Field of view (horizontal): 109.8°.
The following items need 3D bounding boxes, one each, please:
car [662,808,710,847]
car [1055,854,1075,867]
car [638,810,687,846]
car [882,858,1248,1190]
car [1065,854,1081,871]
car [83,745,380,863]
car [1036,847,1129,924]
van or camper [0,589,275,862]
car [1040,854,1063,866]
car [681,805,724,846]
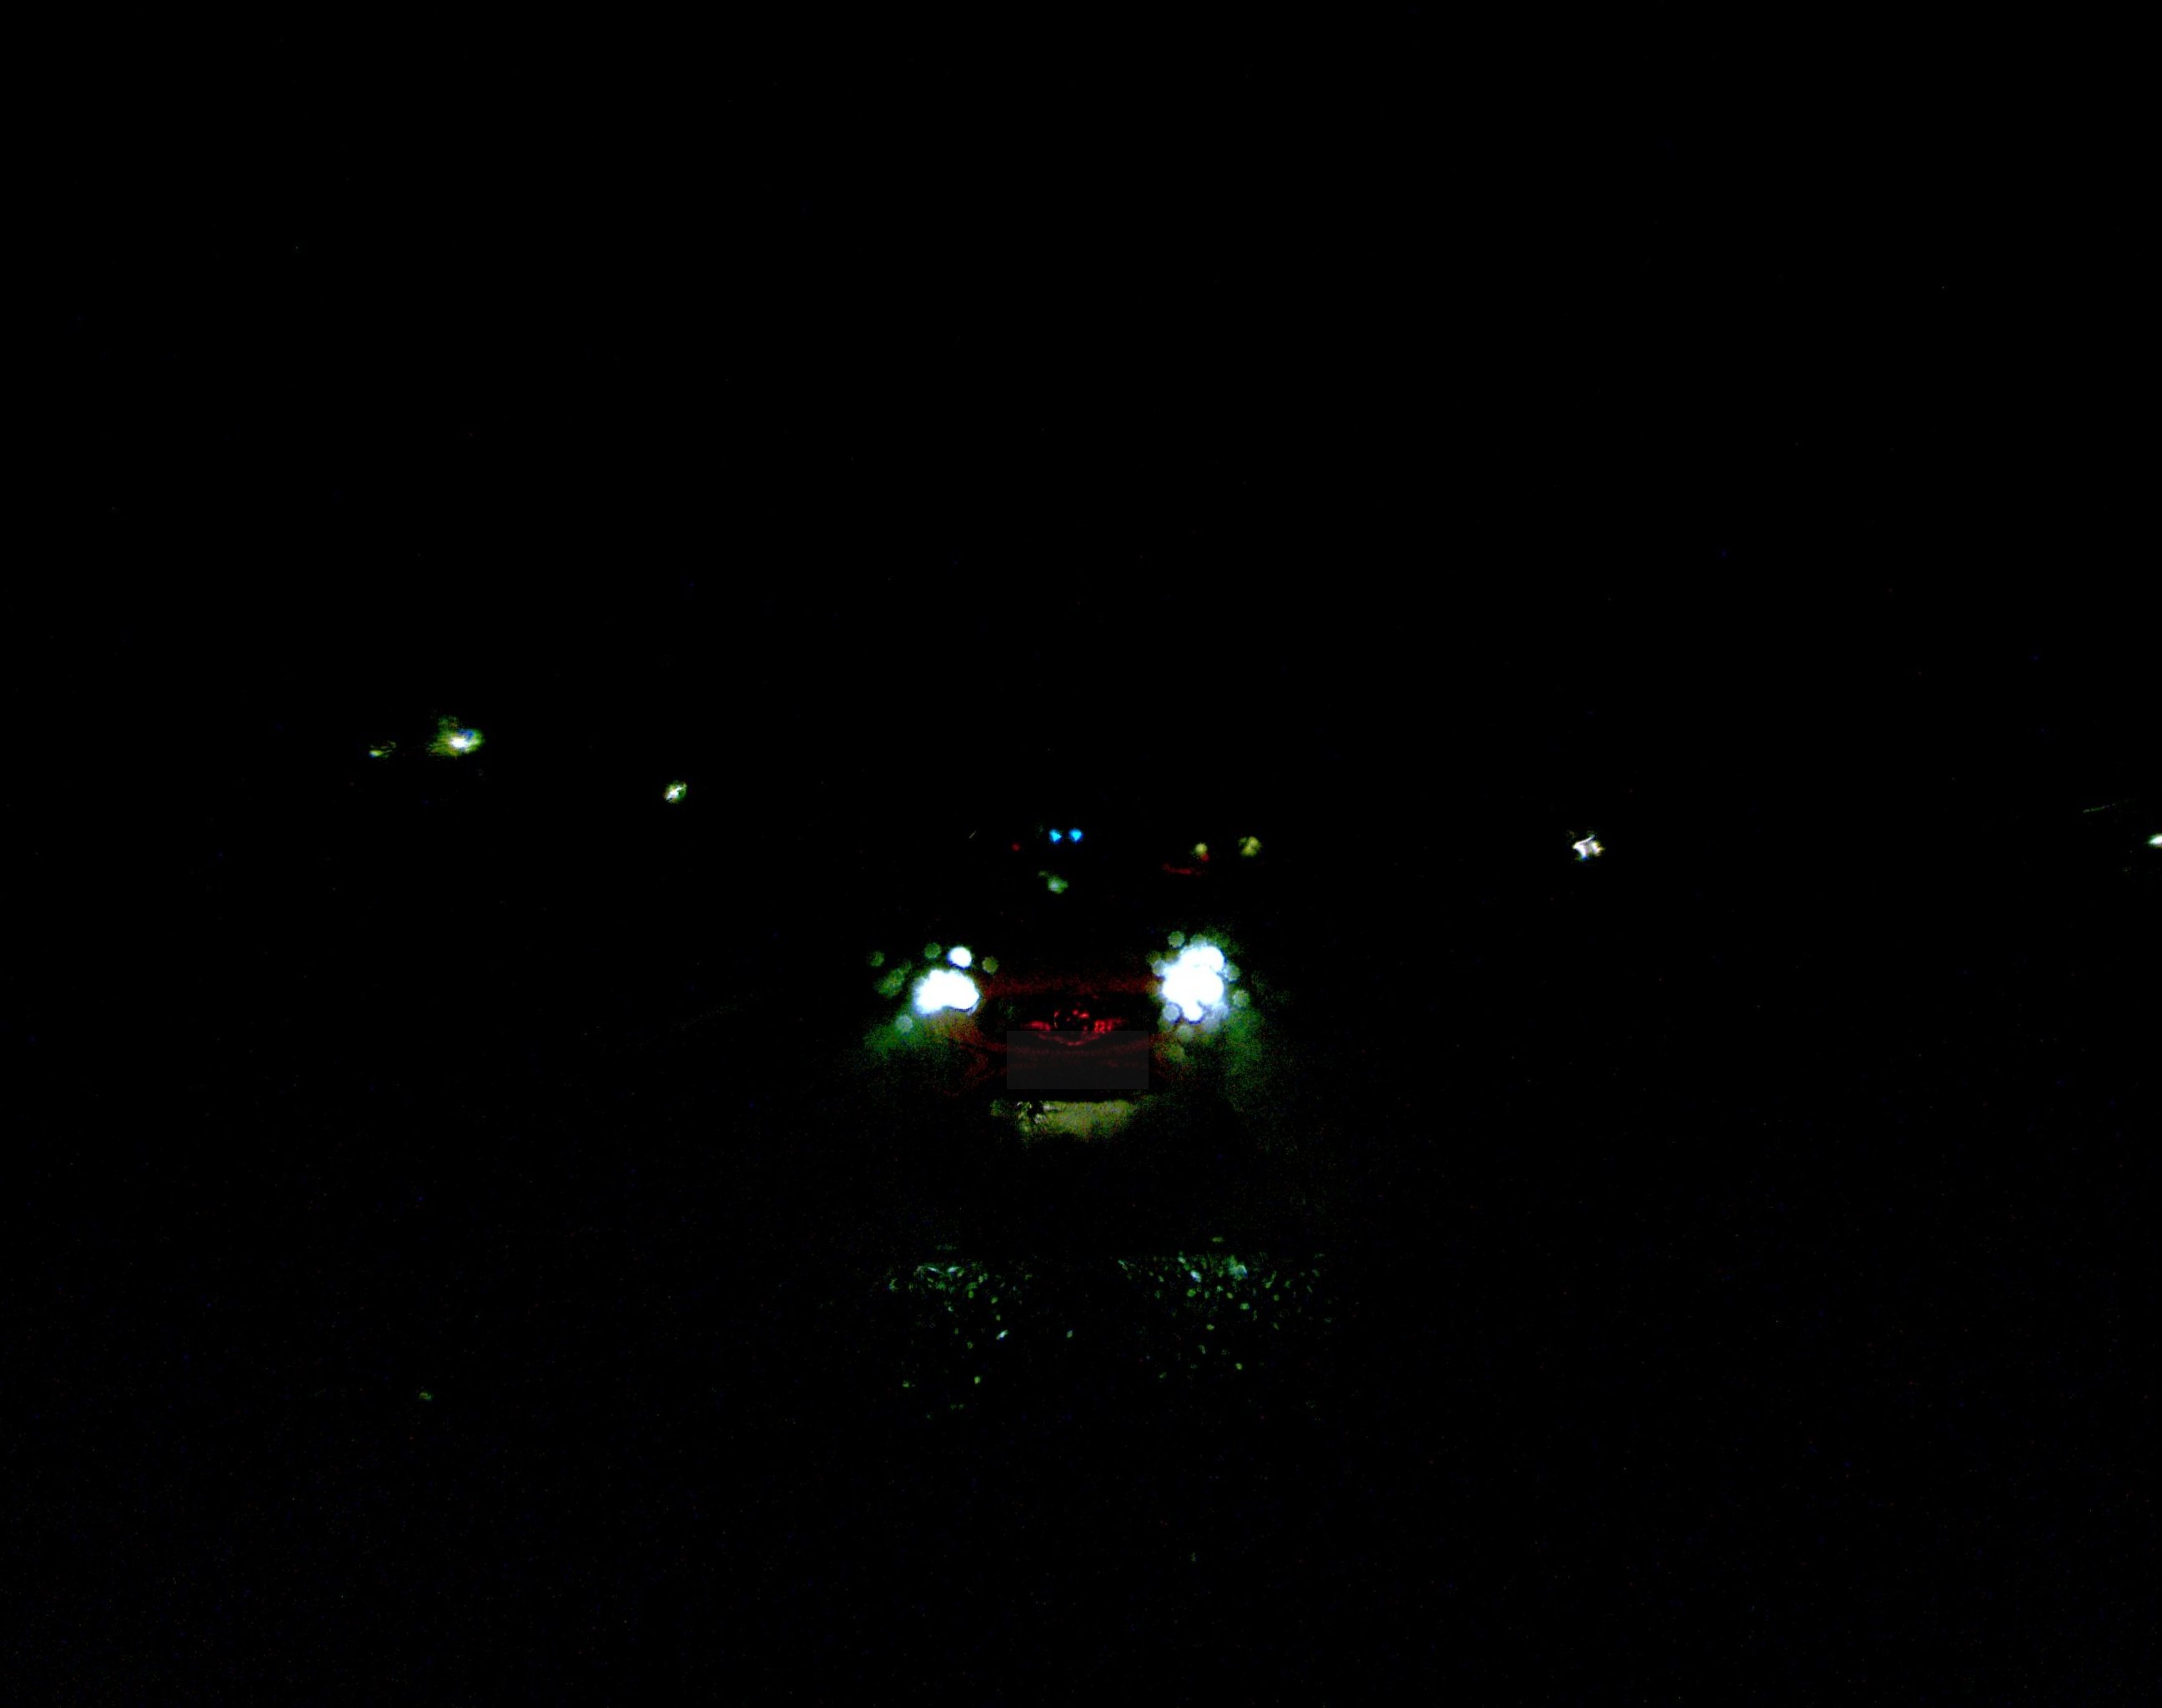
[{"bbox_3d":[-26.355,-1.730,50.807,1.937,2.406,4.249,-2,1,-16],"label":"car"},{"bbox_3d":[-2.515,0.993,119.368,2.001,2.002,3.993,-3,1,-19],"label":"car"},{"bbox_3d":[-25.053,-1.521,45.629,1.735,2.002,3.696,-2,1,-16],"label":"car"},{"bbox_3d":[-0.051,0.893,6.086,1.826,1.573,4.354,-2,1,1],"label":"car"},{"bbox_3d":[-1.025,1.114,98.858,1.998,2.002,3.999,-2,1,1],"label":"car"},{"bbox_3d":[-16.394,-0.887,15.048,2.001,2.002,3.994,-2,1,-16],"label":"car"},{"bbox_3d":[-0.097,0.726,20.226,1.840,1.725,4.937,-2,1,-7],"label":"car"},{"bbox_3d":[-12.736,-1.335,8.581,2.417,2.777,5.763,-3,1,-18],"label":"van or camper"},{"bbox_3d":[-4.915,0.998,127.183,2.003,2.002,3.990,-3,1,-33],"label":"car"},{"bbox_3d":[-27.827,-2.055,56.011,1.937,2.759,4.249,-3,1,-16],"label":"car"}]
